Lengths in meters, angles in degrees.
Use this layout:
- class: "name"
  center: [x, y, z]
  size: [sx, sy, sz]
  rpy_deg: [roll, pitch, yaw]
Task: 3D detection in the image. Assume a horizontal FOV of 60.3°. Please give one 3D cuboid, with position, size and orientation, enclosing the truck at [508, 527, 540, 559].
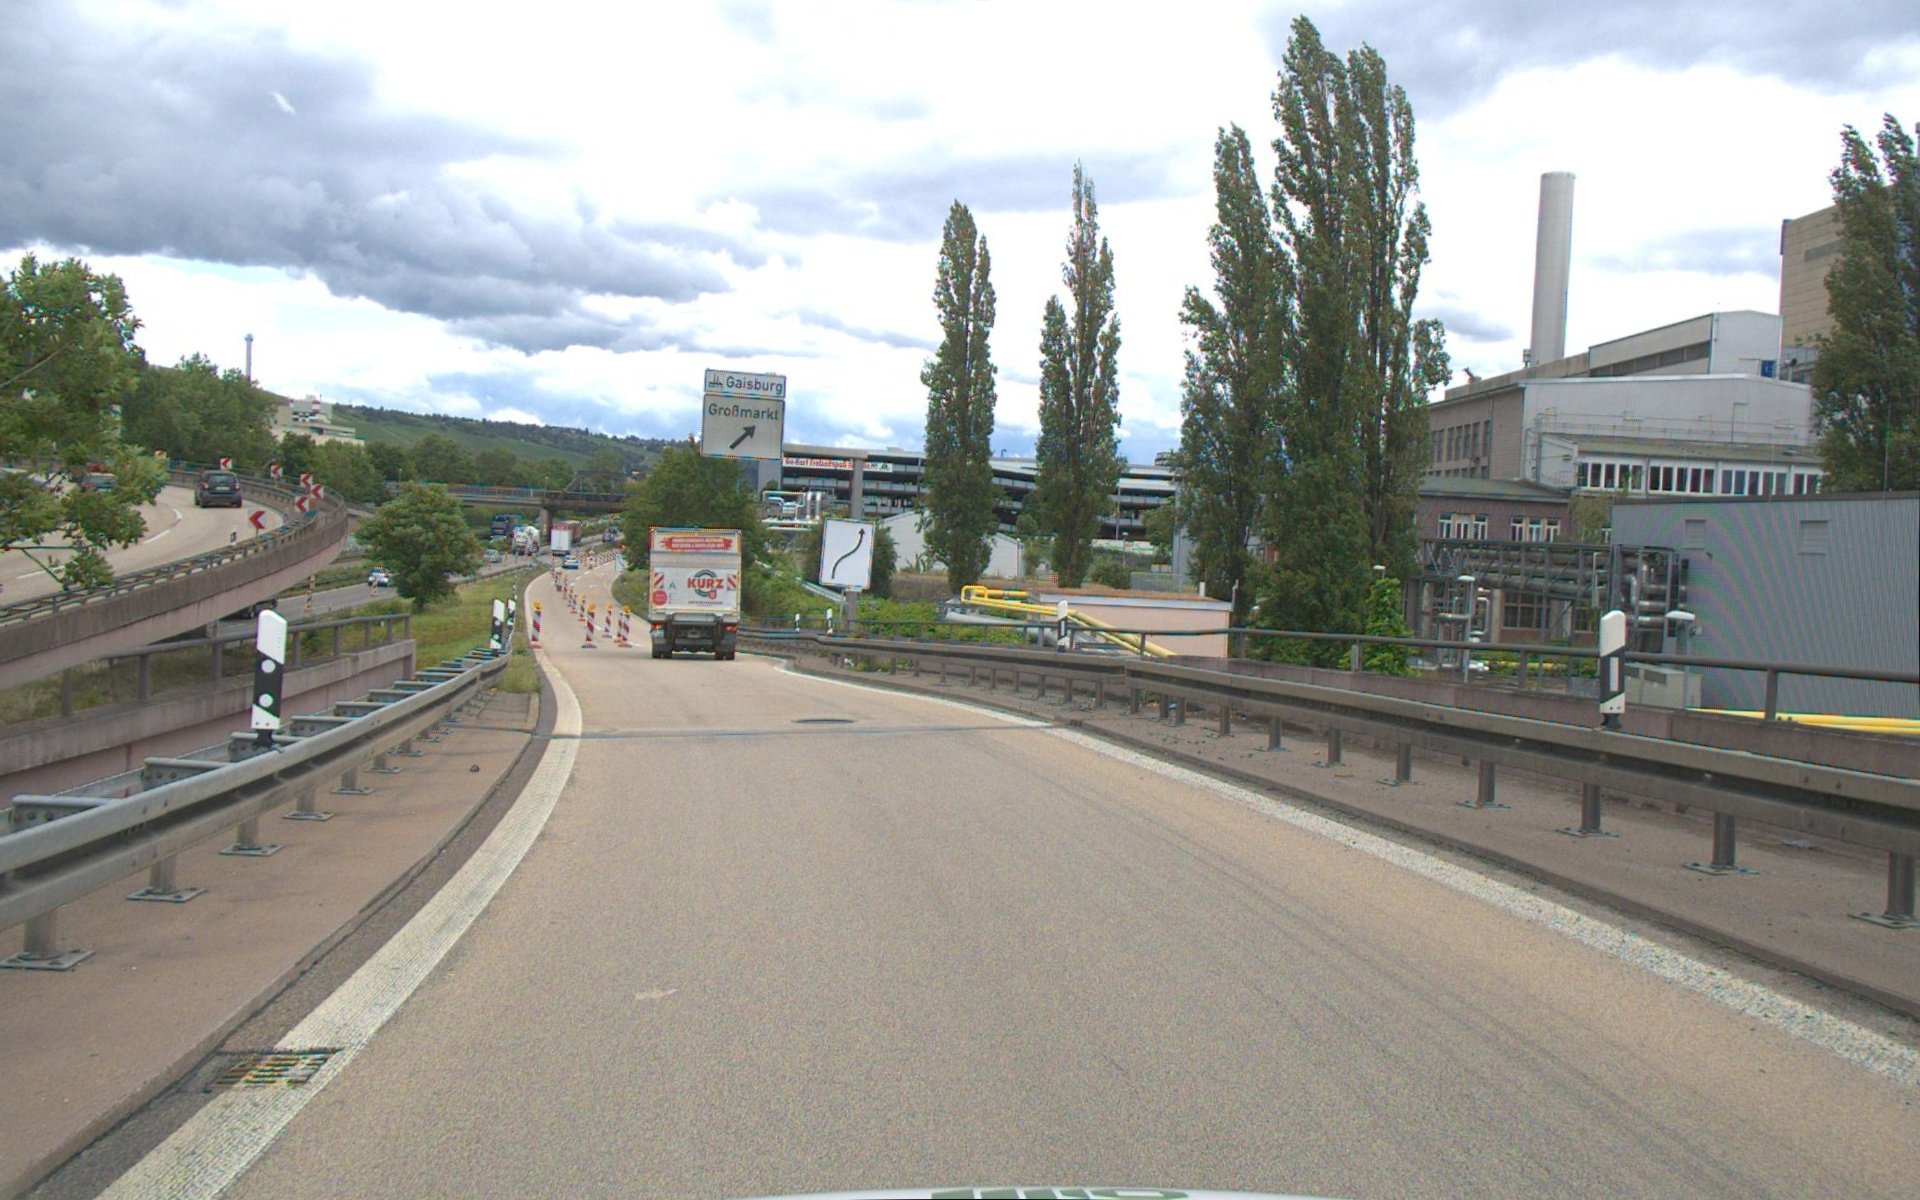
- class: "truck"
  center: [-57.150, -7.540, 216.998]
  size: [3.227, 3.918, 7.648]
  rpy_deg: [3, 2, -10]

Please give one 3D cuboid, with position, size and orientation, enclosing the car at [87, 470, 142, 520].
- class: "car"
  center: [-36.194, -4.483, 70.891]
  size: [1.969, 1.803, 3.966]
  rpy_deg: [2, -1, -26]

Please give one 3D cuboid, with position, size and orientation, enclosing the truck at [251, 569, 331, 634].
- class: "truck"
  center: [-42.623, 0.051, 105.600]
  size: [2.995, 3.719, 7.381]
  rpy_deg: [3, 2, -10]

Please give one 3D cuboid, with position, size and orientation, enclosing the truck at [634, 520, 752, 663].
- class: "truck"
  center: [-7.948, -0.198, 48.836]
  size: [2.996, 3.737, 7.907]
  rpy_deg: [3, -1, -10]

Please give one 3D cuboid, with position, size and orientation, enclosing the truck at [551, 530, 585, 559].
- class: "truck"
  center: [-52.770, -7.425, 222.893]
  size: [3.223, 3.662, 7.657]
  rpy_deg: [3, 2, -6]

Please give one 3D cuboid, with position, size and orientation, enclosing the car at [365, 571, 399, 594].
- class: "car"
  center: [-48.216, -1.461, 138.007]
  size: [1.958, 1.645, 3.991]
  rpy_deg: [3, 2, -10]

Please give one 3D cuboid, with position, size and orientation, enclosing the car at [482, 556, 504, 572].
- class: "car"
  center: [-54.365, -4.224, 192.642]
  size: [1.958, 1.645, 3.991]
  rpy_deg: [3, 2, -10]

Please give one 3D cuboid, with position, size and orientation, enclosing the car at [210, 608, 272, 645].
- class: "car"
  center: [-39.953, 1.464, 91.973]
  size: [1.955, 1.742, 4.097]
  rpy_deg: [3, 2, -6]
